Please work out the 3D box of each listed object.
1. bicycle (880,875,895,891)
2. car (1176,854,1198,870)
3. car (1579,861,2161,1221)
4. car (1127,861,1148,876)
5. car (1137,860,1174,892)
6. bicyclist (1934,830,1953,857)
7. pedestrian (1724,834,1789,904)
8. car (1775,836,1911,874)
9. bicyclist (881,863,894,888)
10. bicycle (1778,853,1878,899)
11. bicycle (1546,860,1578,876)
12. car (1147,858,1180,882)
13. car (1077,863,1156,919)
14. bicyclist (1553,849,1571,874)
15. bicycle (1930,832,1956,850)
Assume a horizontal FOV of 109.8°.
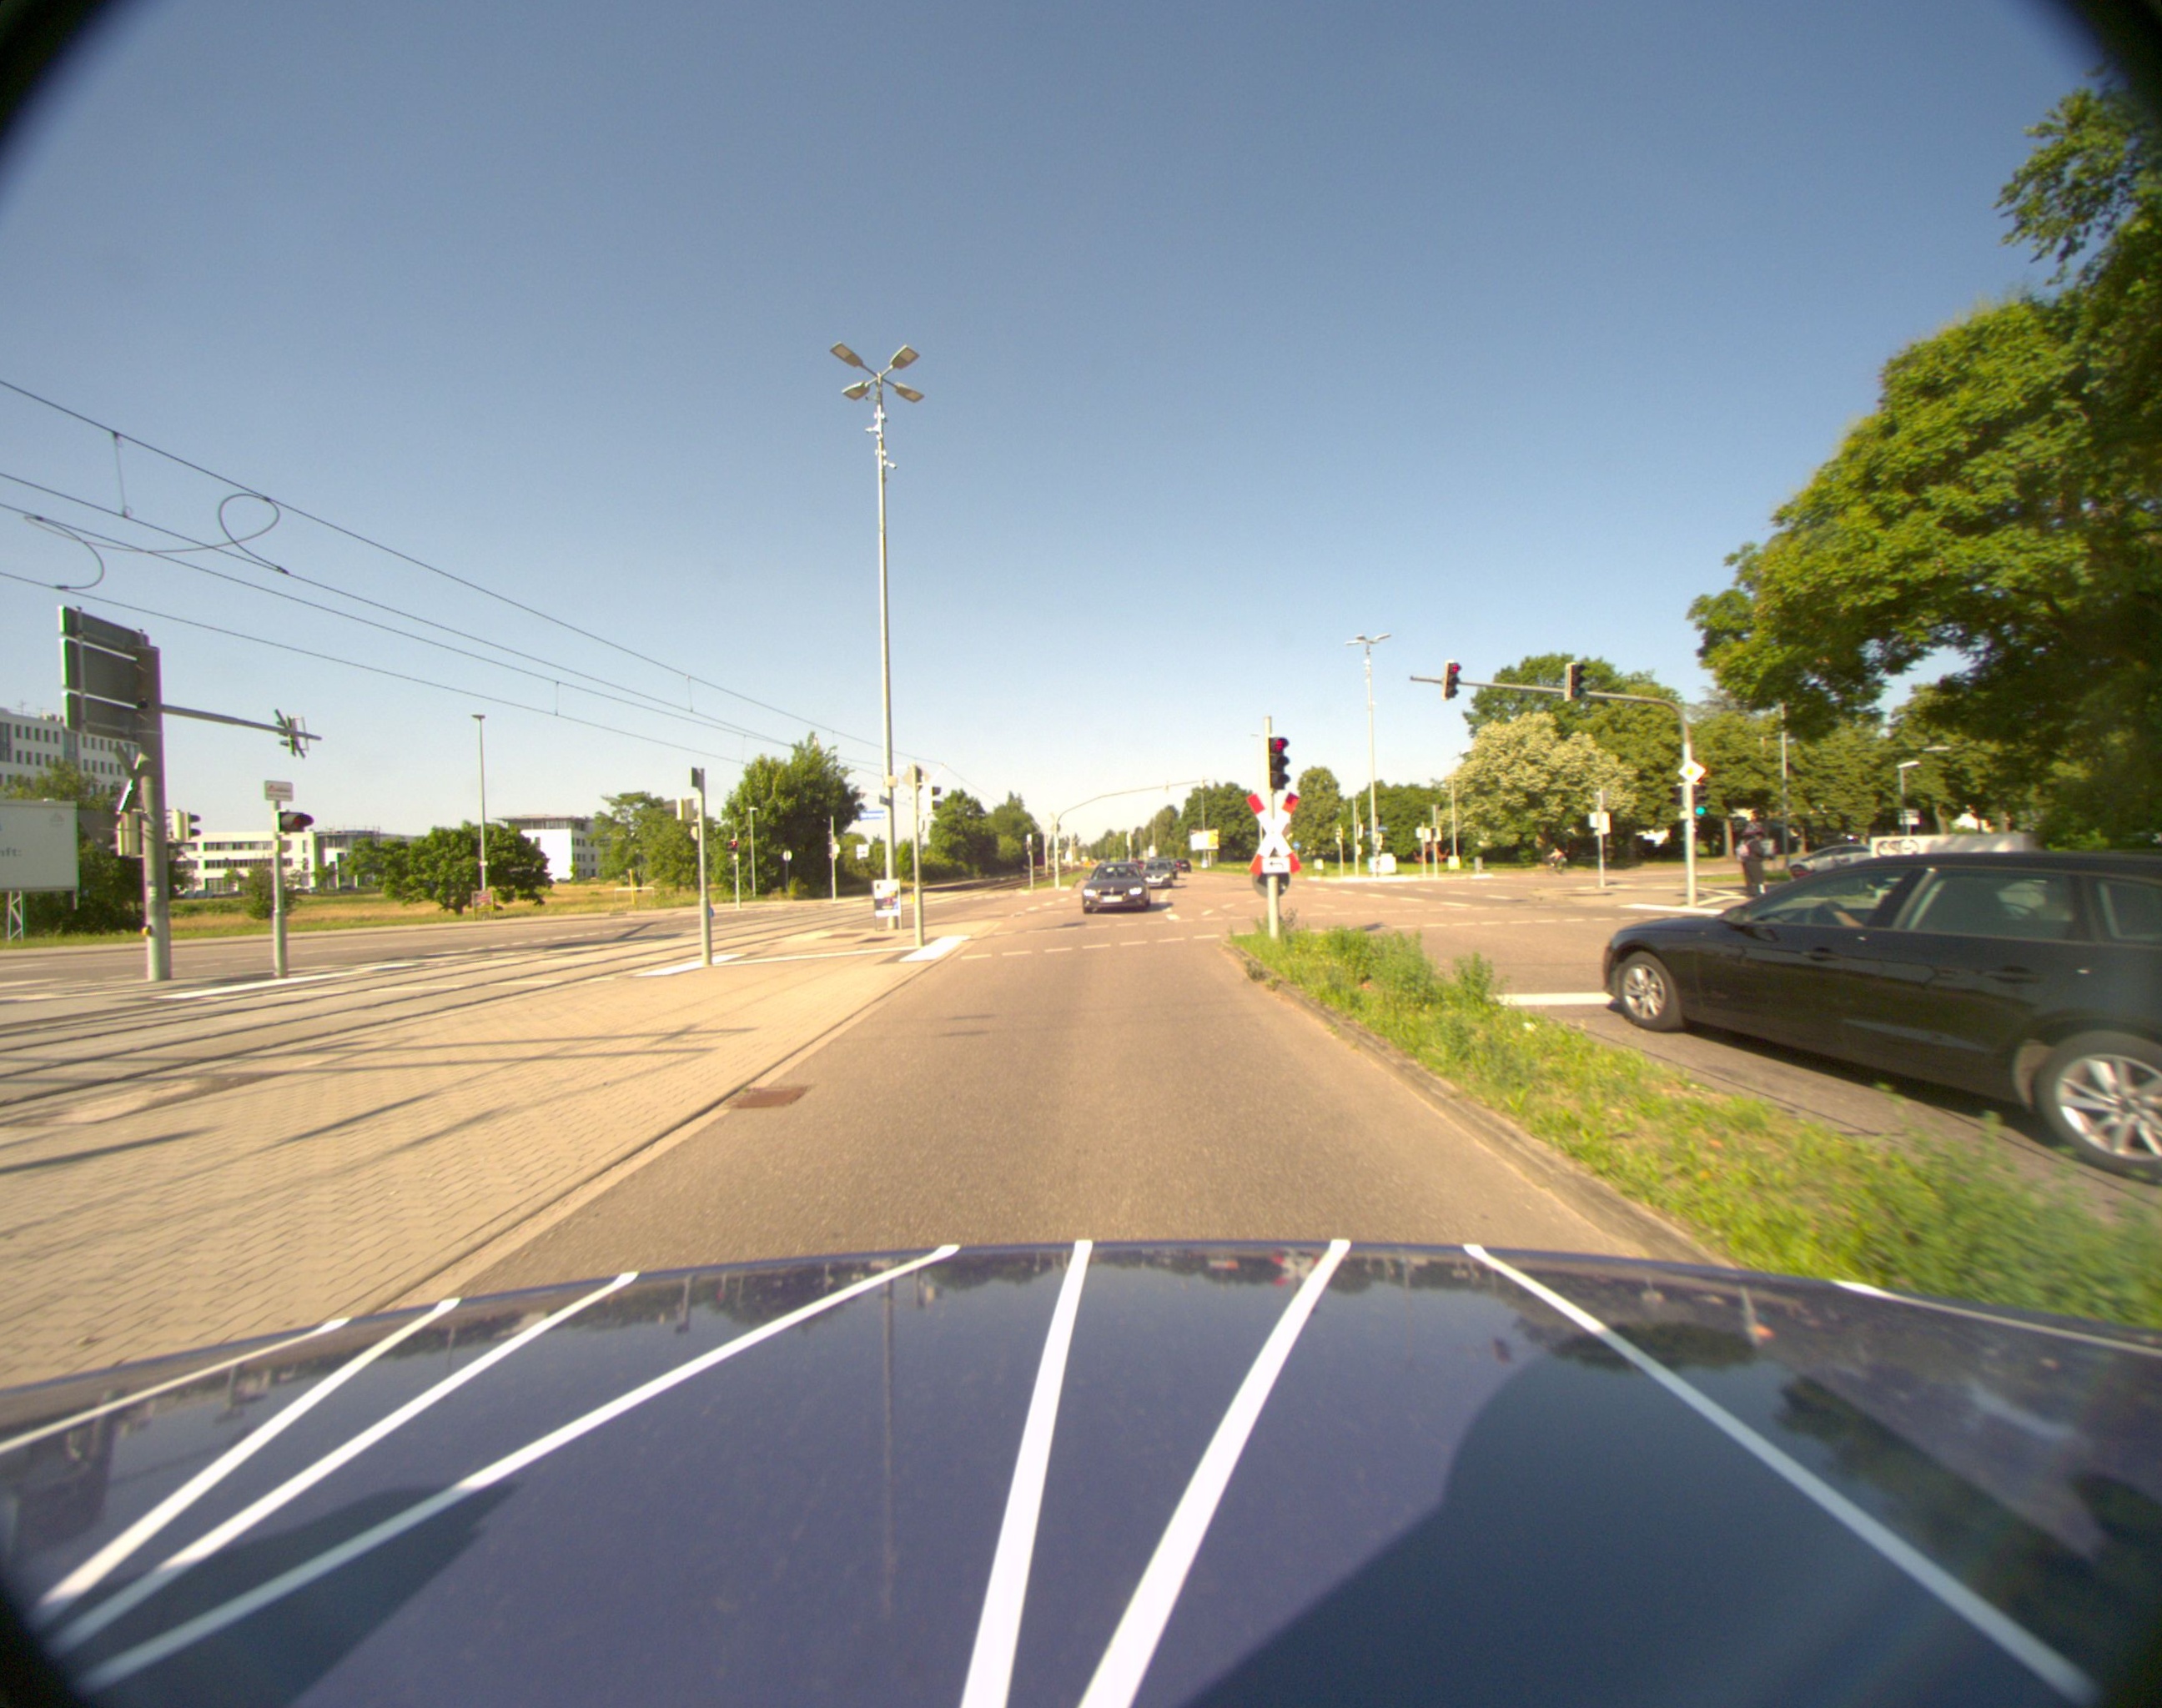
[{"bbox_3d":[-13.962,2.098,54.848,0.547,1.041,1.874,-1,0,1],"label":"bicycle"},{"bbox_3d":[12.218,0.927,88.174,1.994,1.649,4.385,-2,0,2],"label":"car"},{"bbox_3d":[5.336,0.778,4.421,1.833,1.423,4.731,-1,0,1],"label":"car"},{"bbox_3d":[5.965,1.498,80.786,1.807,1.497,4.197,-2,0,0],"label":"car"},{"bbox_3d":[3.865,1.095,39.893,1.820,1.481,4.612,-2,0,4],"label":"car"},{"bbox_3d":[50.093,-0.589,44.123,0.607,1.551,0.604,-2,0,39],"label":"bicyclist"},{"bbox_3d":[17.577,0.393,19.797,0.817,1.741,0.932,-2,0,6],"label":"pedestrian"},{"bbox_3d":[35.071,0.086,35.116,1.786,1.430,3.997,-2,-3,-17],"label":"car"},{"bbox_3d":[-14.004,1.560,54.938,0.708,1.797,0.718,-2,0,2],"label":"bicyclist"},{"bbox_3d":[19.216,0.556,19.562,1.914,1.112,0.632,-2,0,0],"label":"bicycle"},{"bbox_3d":[30.088,0.880,47.539,1.811,0.898,0.653,-2,0,-19],"label":"bicycle"},{"bbox_3d":[6.109,1.135,56.690,1.821,1.641,4.611,-3,0,0],"label":"car"},{"bbox_3d":[1.177,1.025,22.771,1.819,1.416,4.465,-2,0,9],"label":"car"},{"bbox_3d":[30.078,0.461,47.489,0.628,1.514,0.617,-2,-1,-20],"label":"bicyclist"},{"bbox_3d":[50.153,-0.751,44.215,0.620,1.034,2.076,-2,0,38],"label":"bicycle"}]
